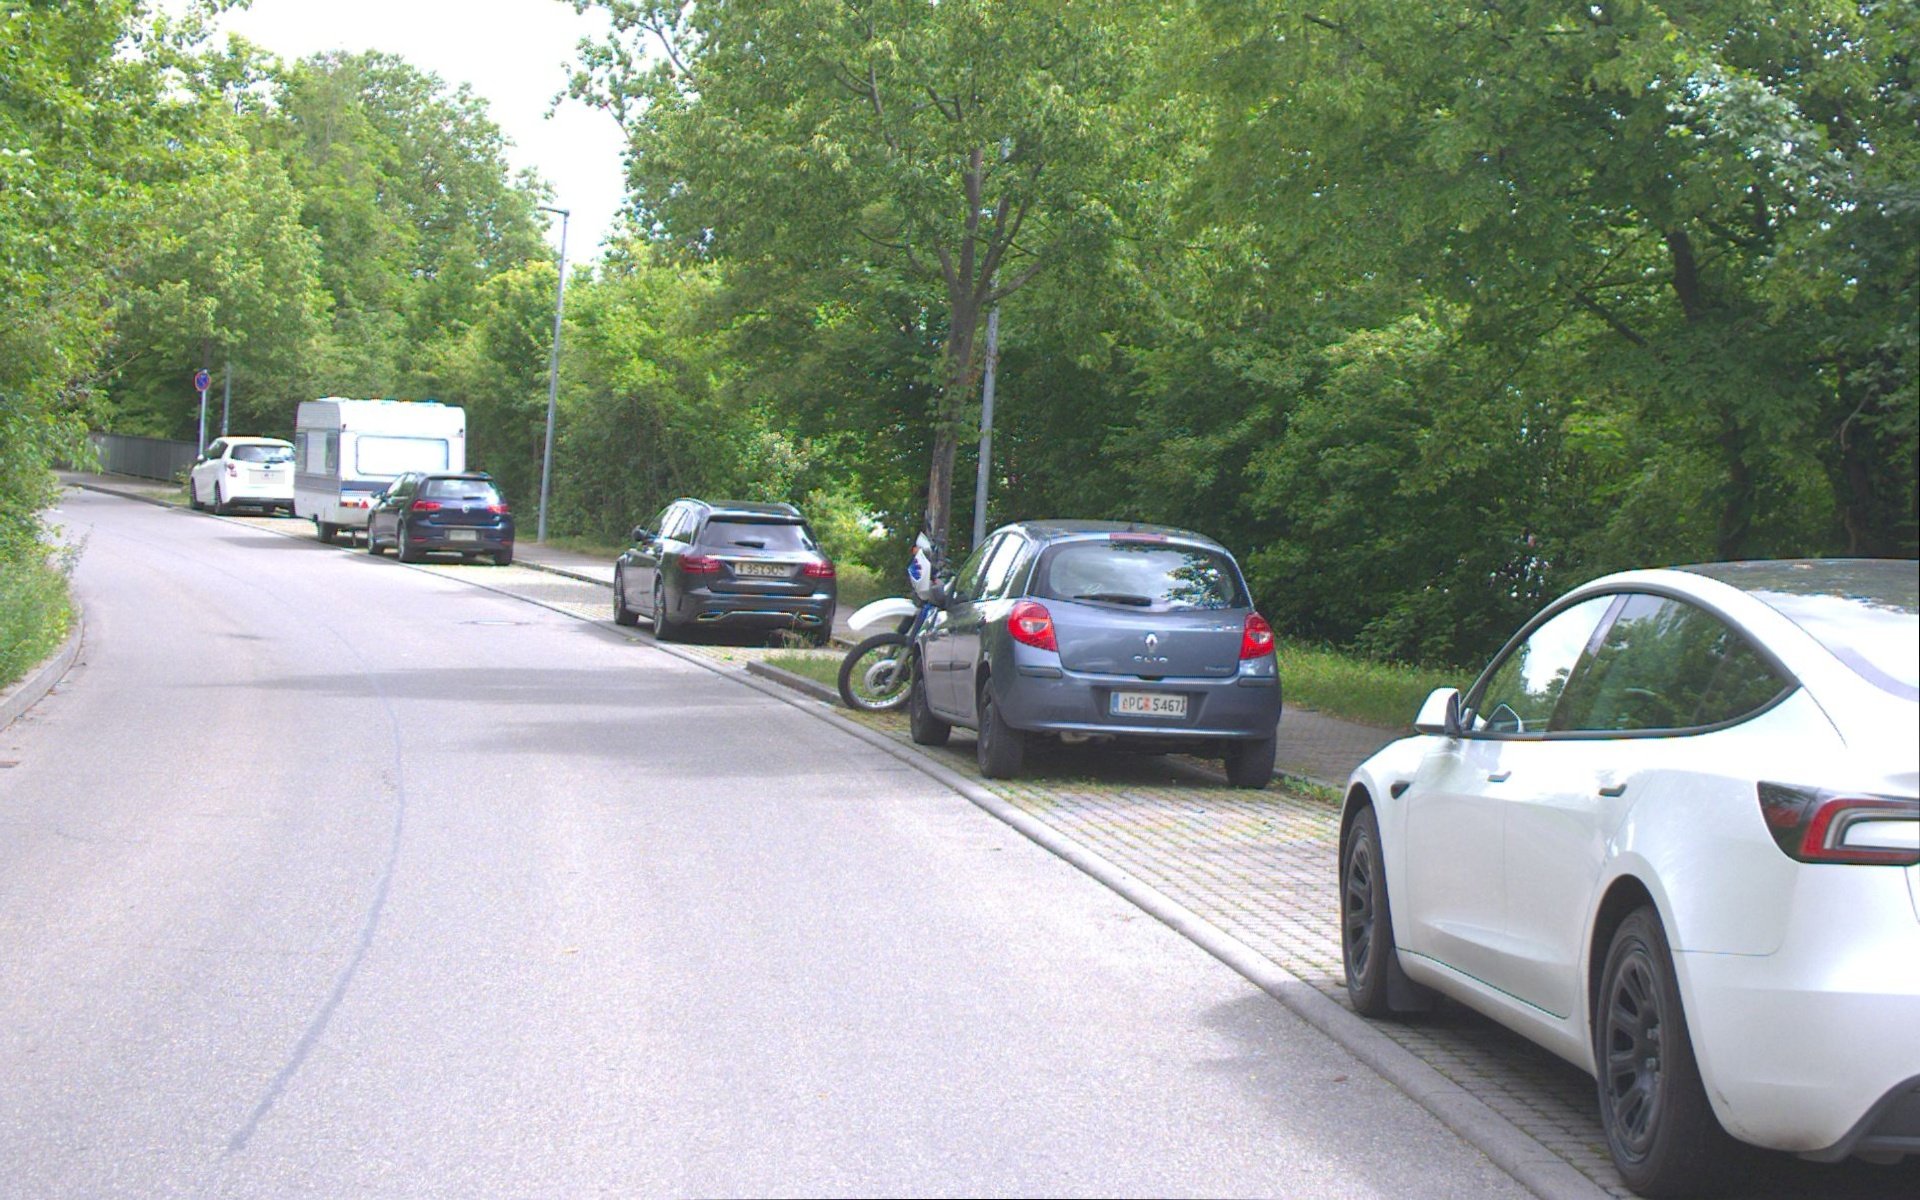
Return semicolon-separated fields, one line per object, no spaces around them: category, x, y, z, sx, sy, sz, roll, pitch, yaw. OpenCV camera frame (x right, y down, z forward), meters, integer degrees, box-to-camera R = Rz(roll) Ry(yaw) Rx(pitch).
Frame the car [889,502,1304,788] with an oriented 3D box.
car;0.717;0.205;20.956;1.769;1.512;4.108;2;1;-8

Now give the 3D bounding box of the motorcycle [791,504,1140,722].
motorcycle;0.046;0.072;24.650;2.307;1.470;0.974;2;2;16

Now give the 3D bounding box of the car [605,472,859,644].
car;-2.495;-0.498;36.447;1.892;1.524;4.548;3;3;-13

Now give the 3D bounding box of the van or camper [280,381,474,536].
van or camper;-10.315;-2.526;60.499;2.354;2.545;5.077;1;3;-21

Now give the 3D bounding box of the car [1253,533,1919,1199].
car;2.203;0.603;9.276;1.862;1.472;4.903;1;2;-6

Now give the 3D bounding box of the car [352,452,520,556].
car;-8.443;-1.566;55.059;1.681;1.446;4.482;2;2;-21

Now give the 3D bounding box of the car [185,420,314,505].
car;-14.985;-2.917;72.340;1.804;1.594;4.374;1;3;-23
